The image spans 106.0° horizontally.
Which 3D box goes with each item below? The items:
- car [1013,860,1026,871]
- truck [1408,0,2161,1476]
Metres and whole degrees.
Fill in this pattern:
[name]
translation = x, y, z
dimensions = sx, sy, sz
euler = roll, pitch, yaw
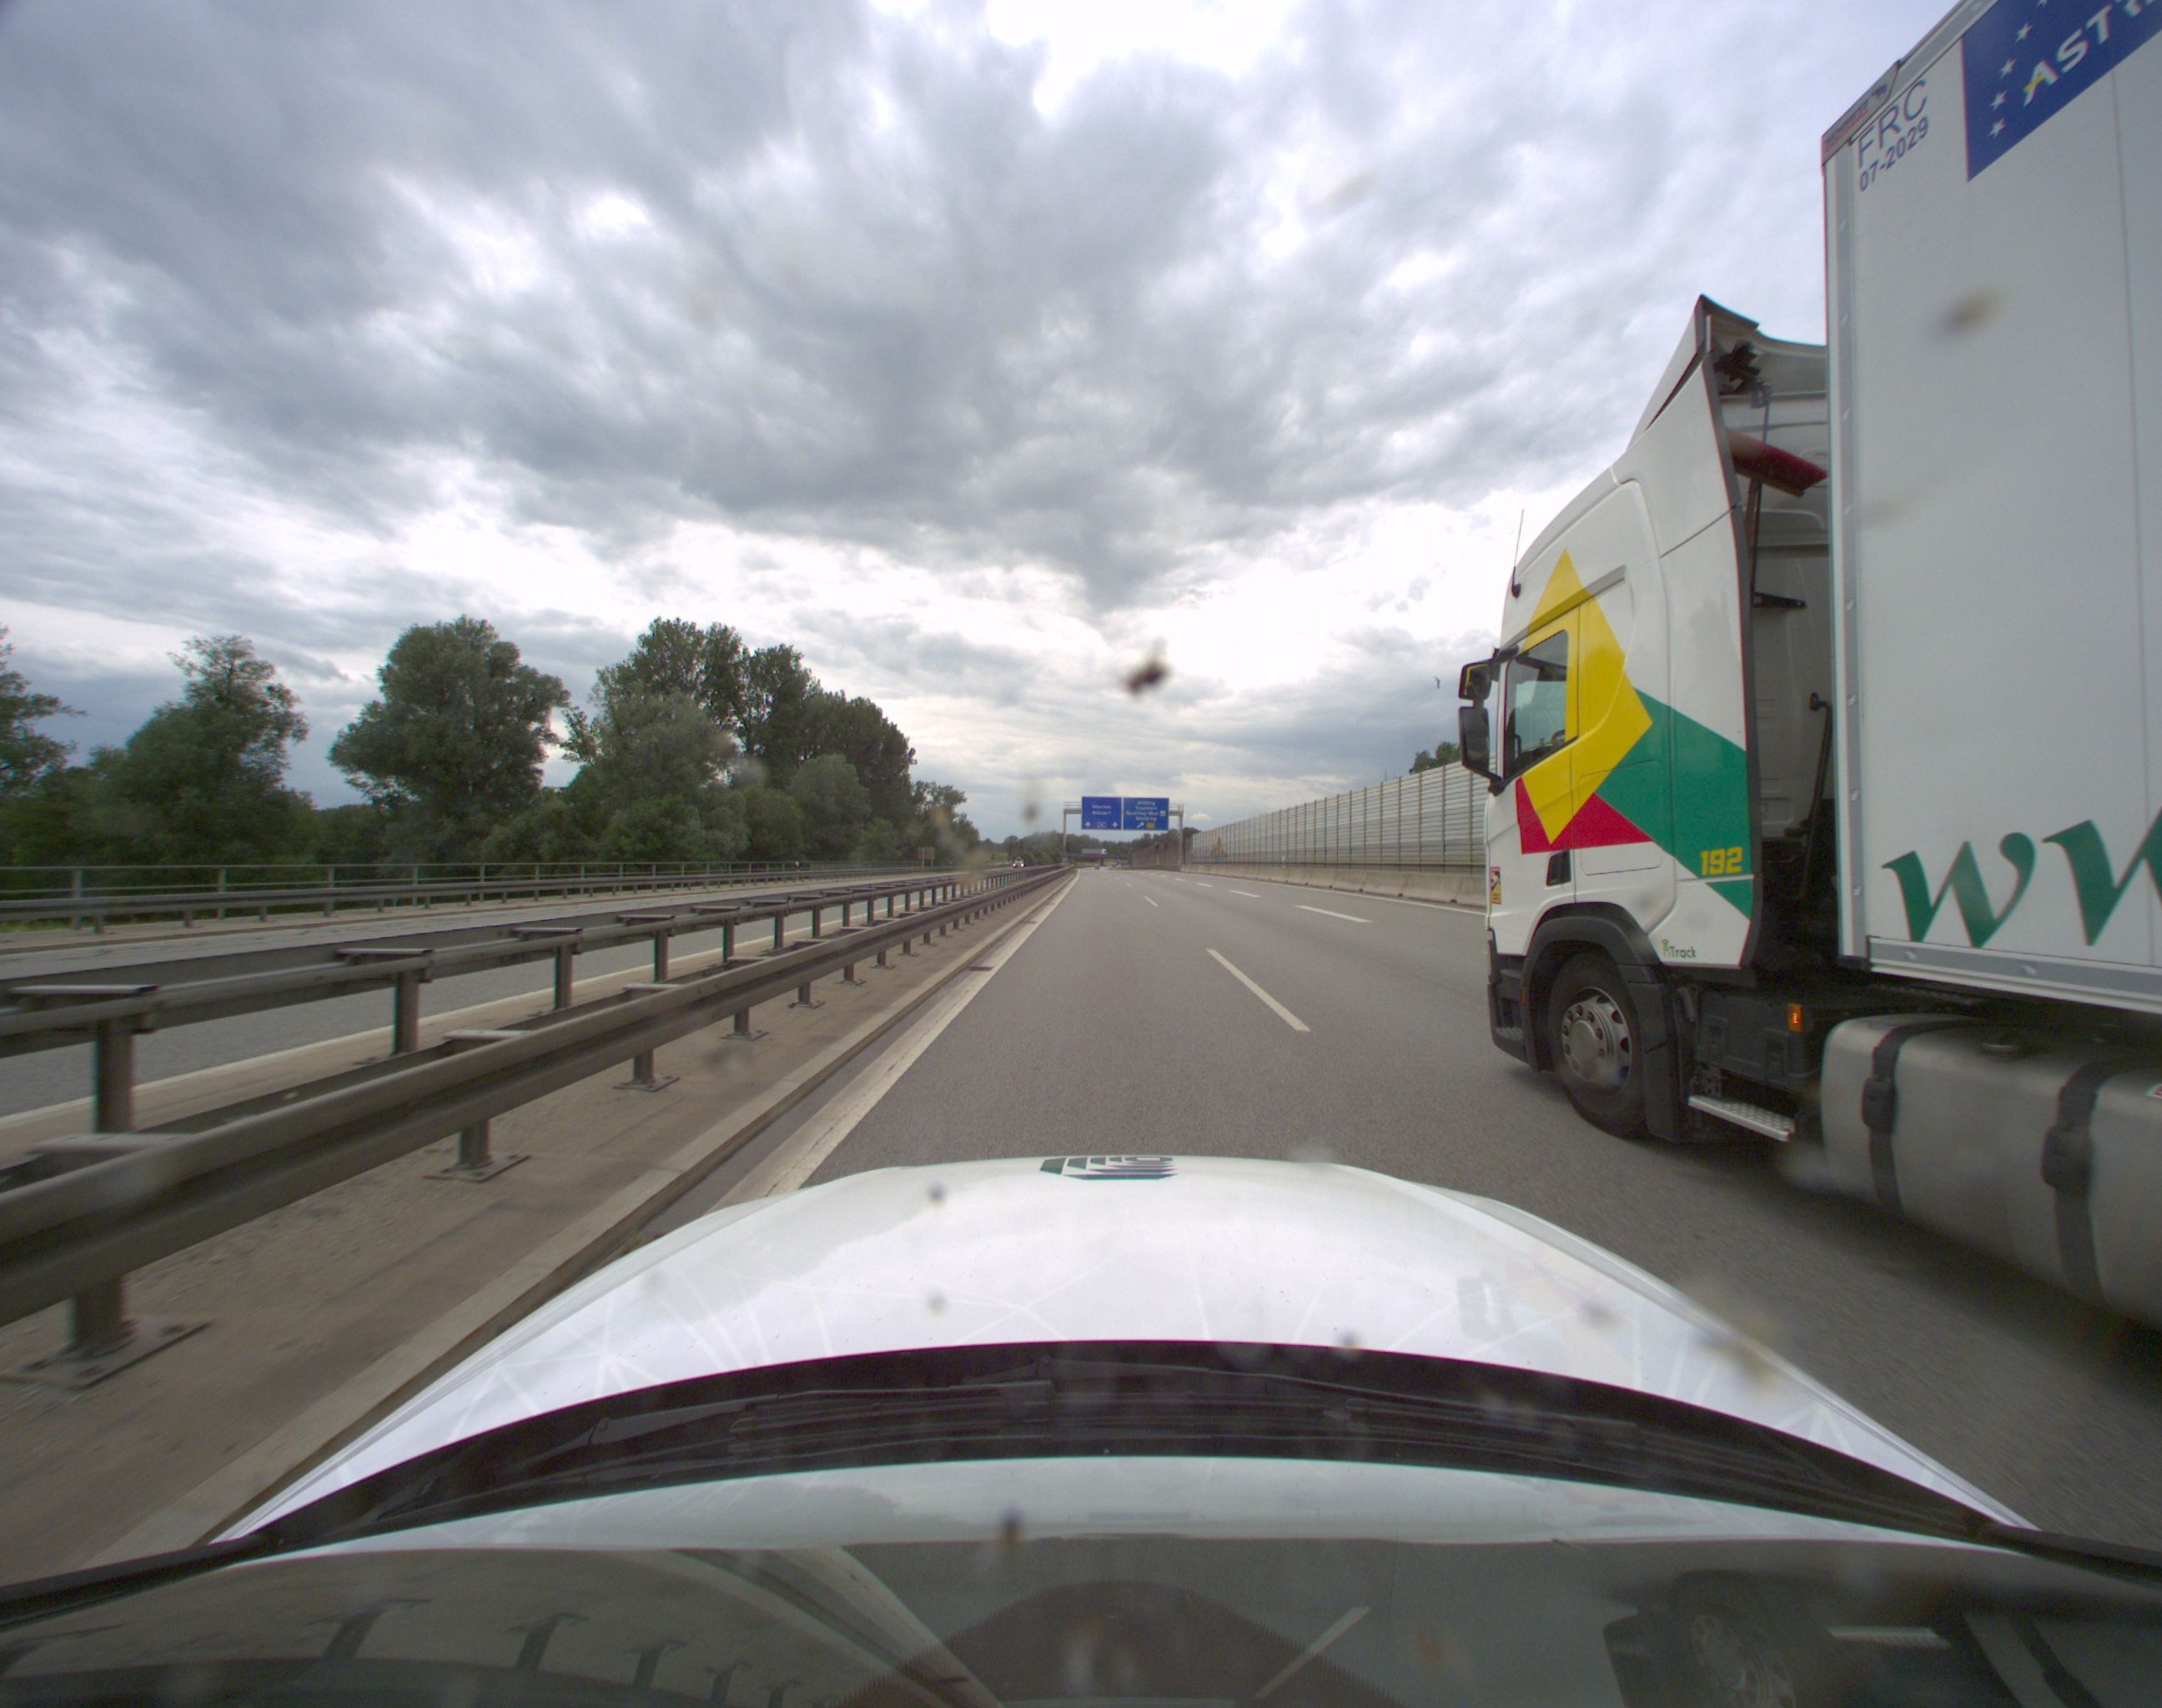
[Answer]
[car]
translation = -10.825, 2.006, 142.860
dimensions = 1.988, 2.002, 4.741
euler = 0, -1, -1
[truck]
translation = 3.885, -0.578, 3.582
dimensions = 2.745, 3.959, 5.680
euler = -1, 0, 2
